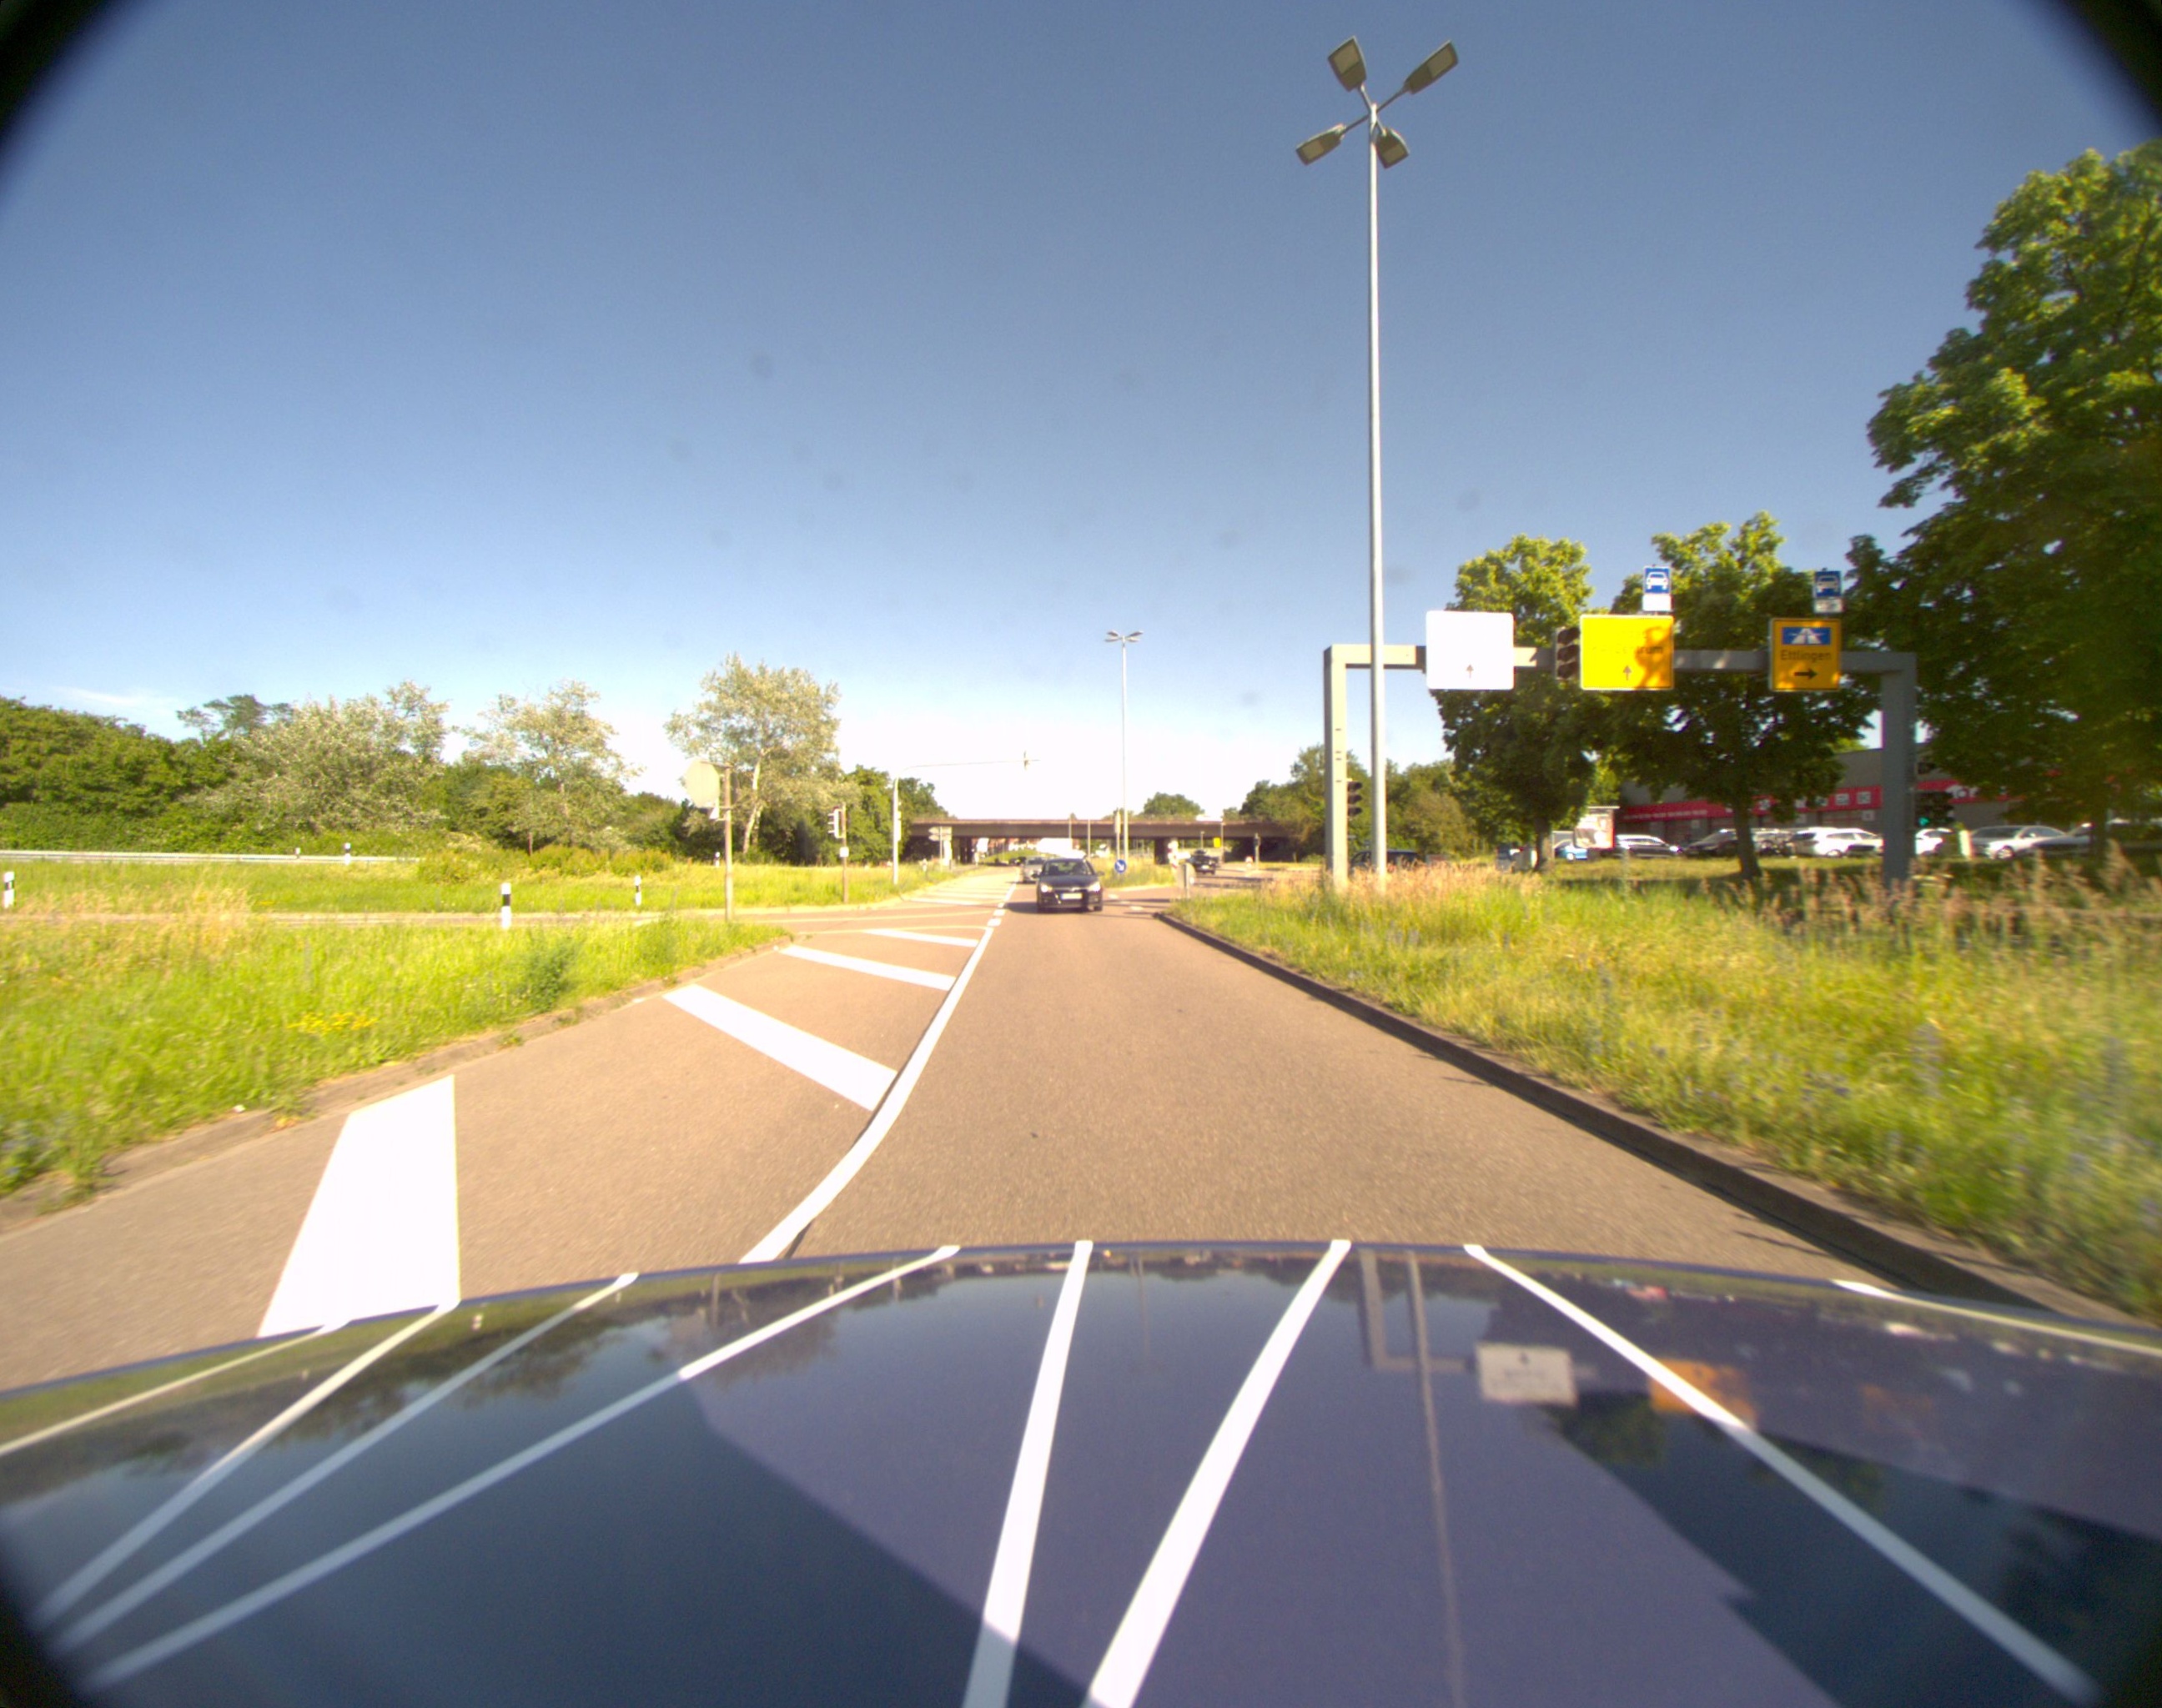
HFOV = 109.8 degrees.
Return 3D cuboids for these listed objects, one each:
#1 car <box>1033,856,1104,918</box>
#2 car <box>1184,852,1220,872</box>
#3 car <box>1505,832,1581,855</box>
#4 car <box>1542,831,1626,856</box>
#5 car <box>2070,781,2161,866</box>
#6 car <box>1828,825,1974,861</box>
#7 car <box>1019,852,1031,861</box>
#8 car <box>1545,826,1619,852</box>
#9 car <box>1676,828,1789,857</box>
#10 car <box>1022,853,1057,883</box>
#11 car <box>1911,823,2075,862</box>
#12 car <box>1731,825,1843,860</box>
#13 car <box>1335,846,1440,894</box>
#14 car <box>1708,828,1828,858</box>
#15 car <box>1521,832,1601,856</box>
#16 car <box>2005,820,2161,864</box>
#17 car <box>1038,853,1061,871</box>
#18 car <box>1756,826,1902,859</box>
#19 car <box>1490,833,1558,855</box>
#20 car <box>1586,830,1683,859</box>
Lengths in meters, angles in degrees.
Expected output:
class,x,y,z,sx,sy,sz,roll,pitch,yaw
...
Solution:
class,x,y,z,sx,sy,sz,roll,pitch,yaw
car,-0.323,0.844,21.141,1.707,1.447,3.958,-3,1,0
car,9.696,0.611,61.359,1.881,1.534,4.570,1,0,-3
car,32.372,-0.701,53.313,4.125,1.542,1.897,0,0,9
car,32.056,-0.645,48.500,4.128,1.542,1.818,0,0,1
car,33.589,-0.876,22.723,5.896,2.419,2.205,0,1,-7
car,32.792,-0.442,30.452,4.131,1.380,1.945,0,0,-7
car,-9.527,0.361,129.564,1.827,1.528,4.041,0,0,-1
car,43.250,-1.218,65.686,1.899,2.139,5.033,-1,0,-36
car,32.366,-0.559,37.807,4.130,1.380,1.945,0,0,-5
car,-2.311,0.727,41.929,1.827,1.528,4.040,-1,1,-4
car,33.459,-0.421,27.938,4.131,1.380,1.945,0,0,-7
car,41.239,-0.654,44.565,1.784,1.945,5.129,0,0,0
car,11.717,0.582,29.411,1.948,1.687,4.628,1,0,-4
car,32.038,-0.510,35.485,4.131,1.380,1.945,0,0,-7
car,32.095,-0.656,50.882,4.126,1.542,1.896,0,0,7
car,33.862,-0.390,25.349,4.131,1.380,1.945,0,0,-7
car,-2.723,0.658,64.993,1.827,1.528,4.040,-1,0,-4
car,32.628,-0.497,33.231,4.632,1.380,1.946,0,0,-3
car,33.218,-0.747,57.120,4.122,1.542,1.898,0,0,18
car,31.373,-0.536,43.151,4.129,1.542,1.946,0,0,-1
